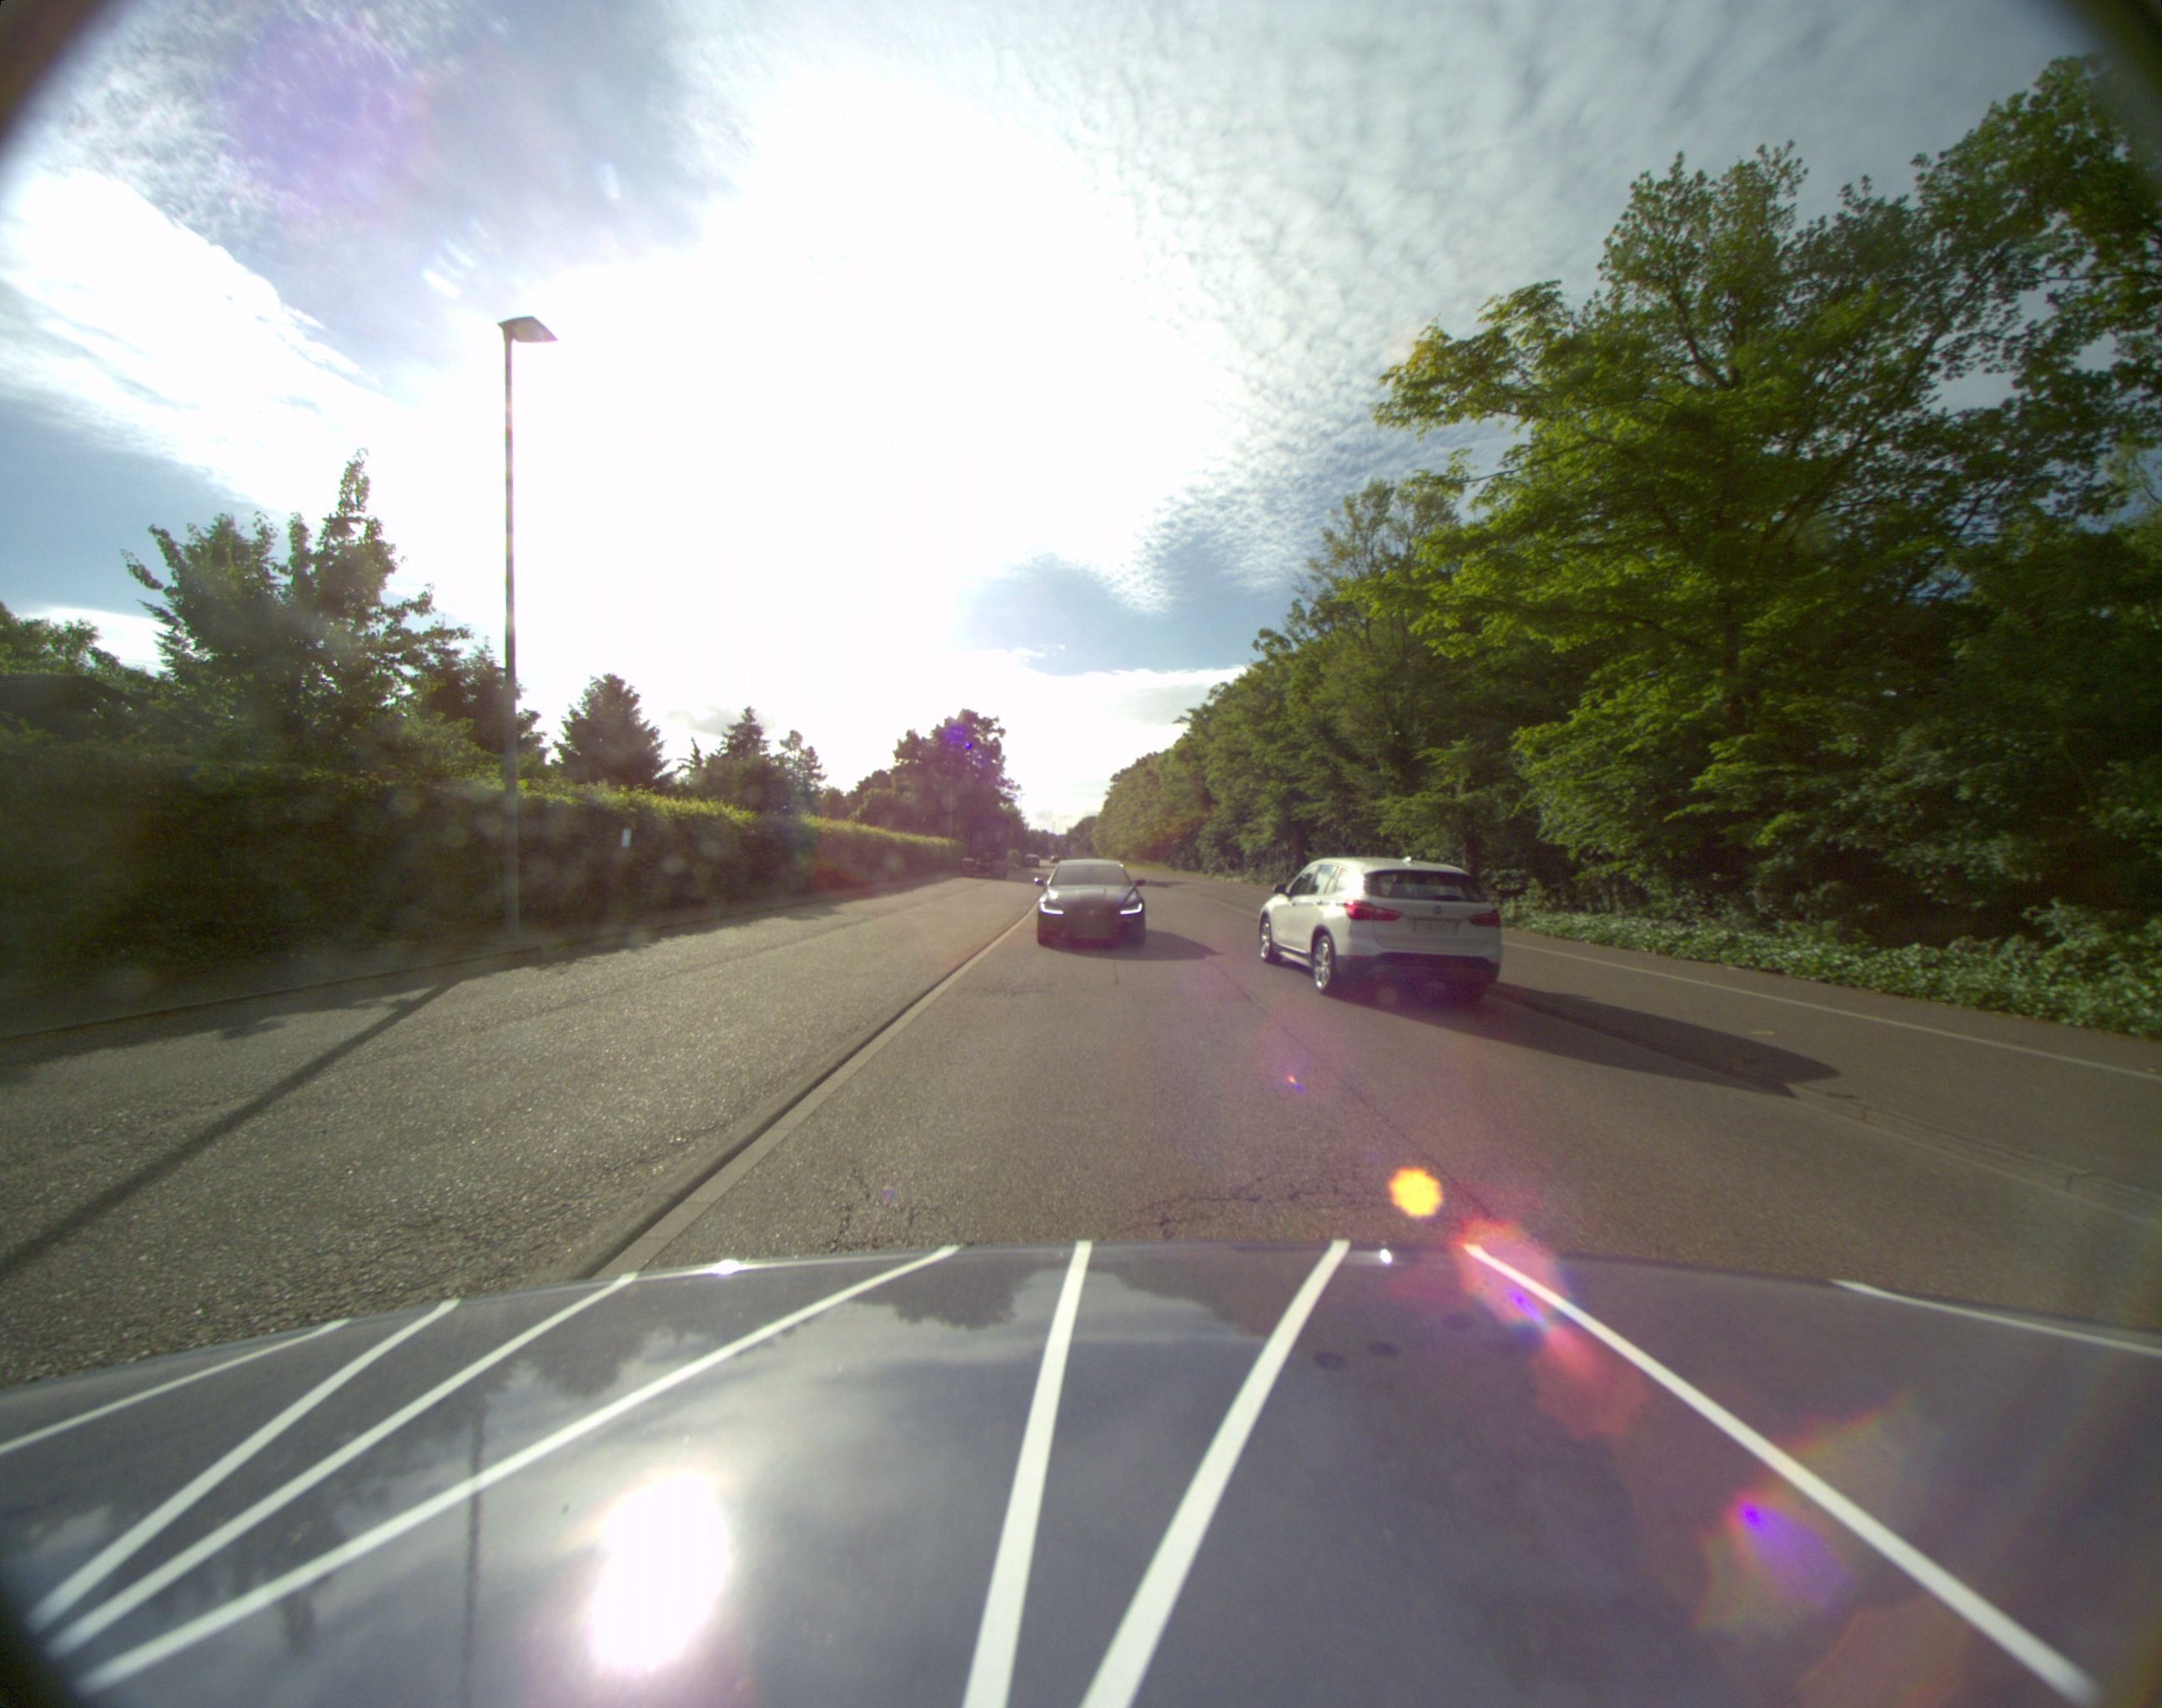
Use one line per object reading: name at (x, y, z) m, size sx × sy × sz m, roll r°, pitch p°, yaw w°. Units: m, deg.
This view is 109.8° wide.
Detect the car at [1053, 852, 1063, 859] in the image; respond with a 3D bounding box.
car at (-4.639, 0.291, 153.057) m, size 1.751 × 1.380 × 3.860 m, roll 4°, pitch 0°, yaw -3°

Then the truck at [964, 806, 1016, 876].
truck at (-5.638, -0.739, 48.055) m, size 2.603 × 3.935 × 6.281 m, roll 5°, pitch 0°, yaw -3°

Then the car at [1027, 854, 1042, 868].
car at (-5.742, 0.867, 94.190) m, size 1.751 × 1.561 × 3.860 m, roll 4°, pitch 0°, yaw -3°

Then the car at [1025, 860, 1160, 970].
car at (0.250, 0.915, 13.431) m, size 1.936 × 1.501 × 4.680 m, roll 1°, pitch 0°, yaw 2°

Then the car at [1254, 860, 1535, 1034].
car at (3.587, 0.946, 9.620) m, size 1.806 × 1.576 × 4.101 m, roll 3°, pitch 1°, yaw 0°
